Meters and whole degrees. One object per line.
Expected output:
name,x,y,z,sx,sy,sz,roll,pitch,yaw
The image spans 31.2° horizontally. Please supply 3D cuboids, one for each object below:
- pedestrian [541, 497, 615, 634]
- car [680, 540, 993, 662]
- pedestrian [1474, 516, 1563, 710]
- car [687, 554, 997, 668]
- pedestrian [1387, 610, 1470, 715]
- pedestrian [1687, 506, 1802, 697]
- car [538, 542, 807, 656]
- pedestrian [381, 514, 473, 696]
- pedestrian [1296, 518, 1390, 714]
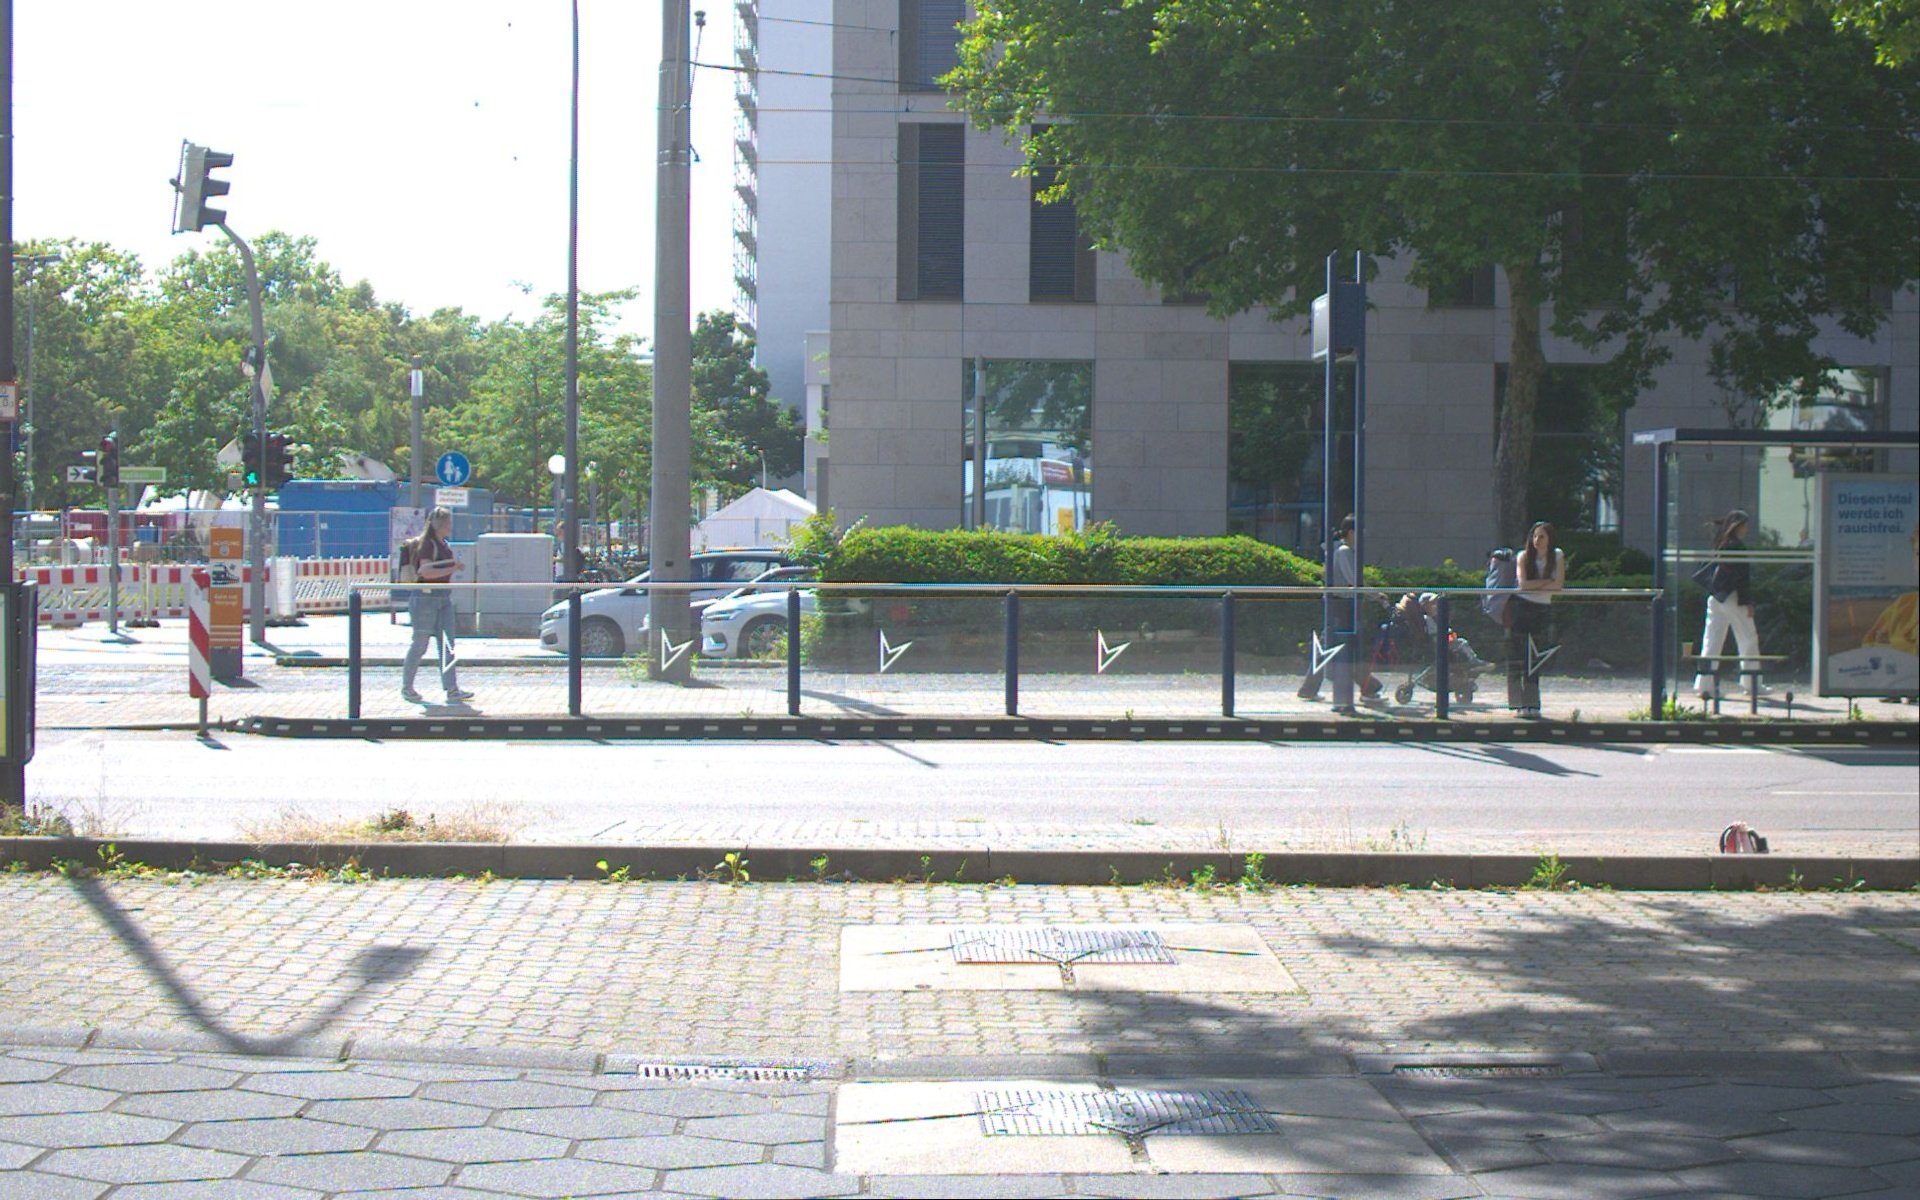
pedestrian,-6.324,-0.579,57.006,1.108,2.240,1.103,1,1,-1
car,-1.659,0.005,45.388,3.986,1.546,1.703,0,1,-7
pedestrian,4.658,0.101,28.696,0.584,1.586,0.670,1,2,-2
car,-1.413,0.118,41.739,3.682,1.308,1.592,1,1,0
pedestrian,4.041,0.537,29.677,0.691,0.877,0.503,1,1,7
pedestrian,6.989,0.009,30.638,0.932,1.677,0.503,1,1,8
car,-4.050,-0.023,48.213,3.681,1.546,1.592,0,1,-7
pedestrian,-4.565,0.036,29.477,0.650,1.535,0.503,1,1,8
pedestrian,3.318,0.131,29.767,0.777,1.677,0.503,1,1,8
